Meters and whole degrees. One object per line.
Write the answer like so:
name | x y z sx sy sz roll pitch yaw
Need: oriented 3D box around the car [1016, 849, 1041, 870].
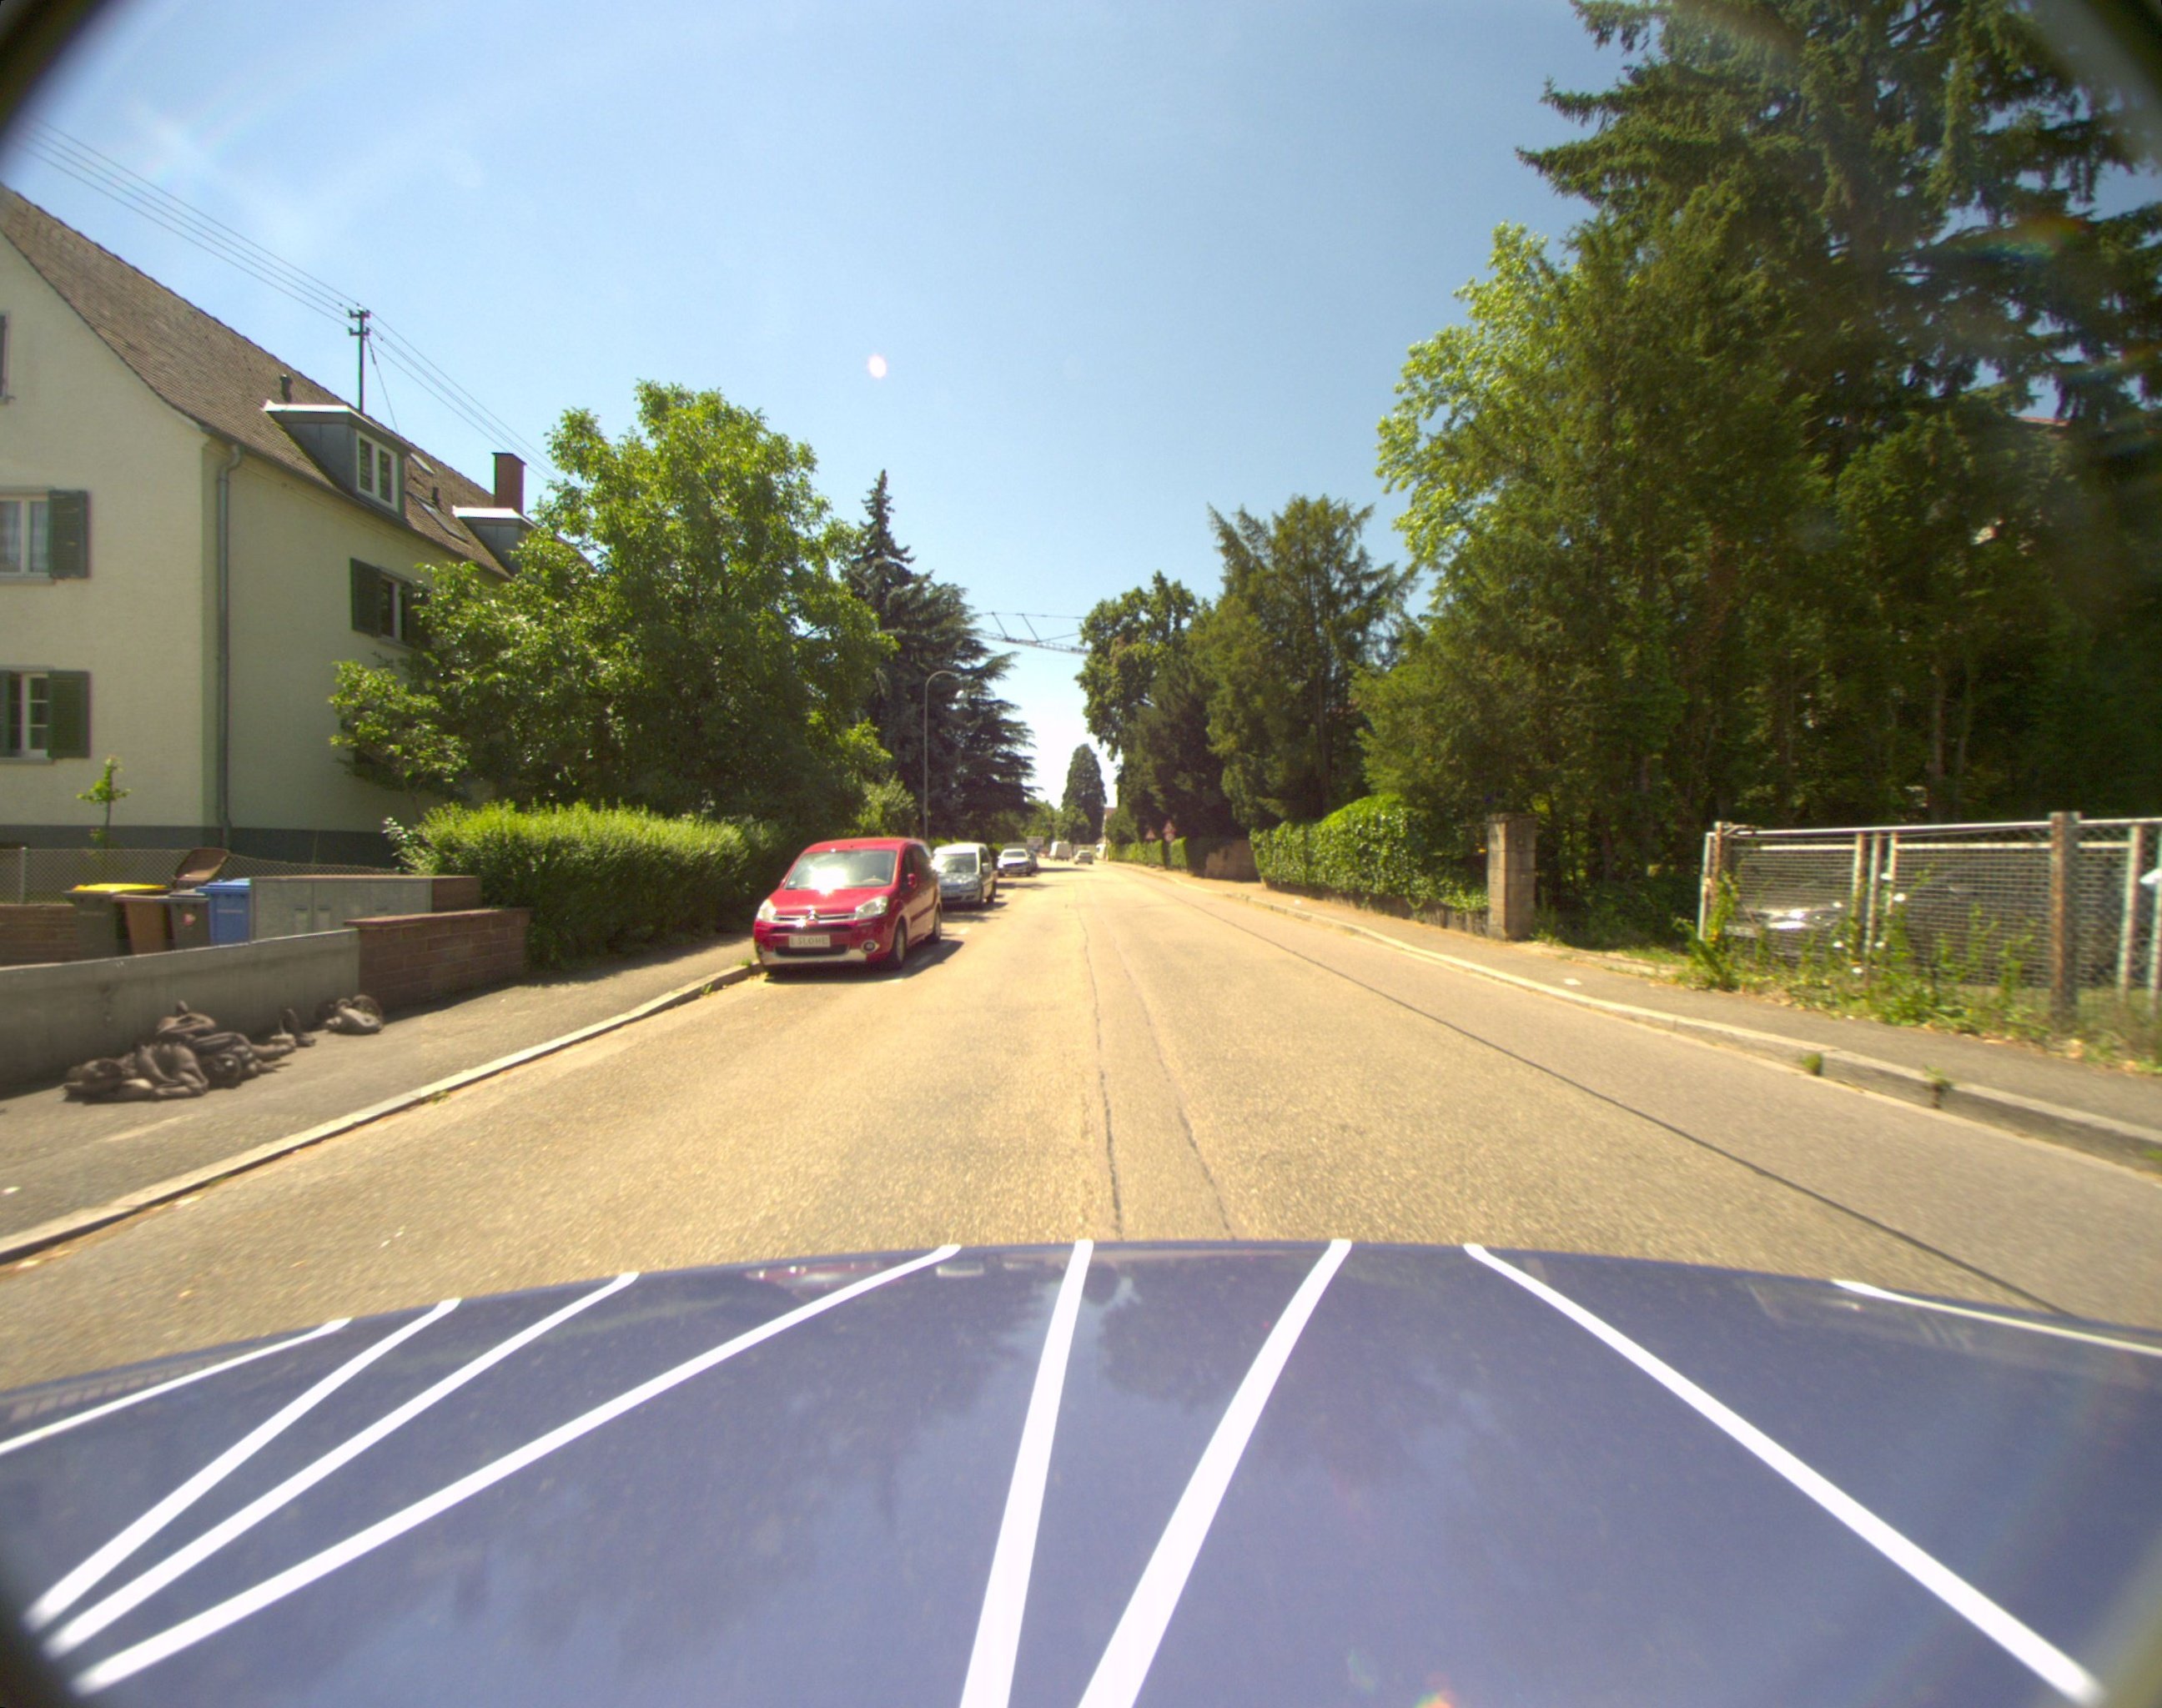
car | -3.792 0.401 55.486 1.619 1.388 4.257 -2 1 -2

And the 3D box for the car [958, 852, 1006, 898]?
car | -3.448 0.703 26.841 1.264 1.487 2.708 -2 1 1

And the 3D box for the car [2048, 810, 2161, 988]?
car | 16.479 0.652 9.242 6.680 2.159 2.401 2 0 -4

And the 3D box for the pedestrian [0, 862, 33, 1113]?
pedestrian | -6.906 0.802 4.362 0.790 1.508 0.708 2 1 1

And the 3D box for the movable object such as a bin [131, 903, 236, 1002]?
movable object such as a bin | -9.099 0.982 7.720 0.465 0.920 0.501 2 1 1

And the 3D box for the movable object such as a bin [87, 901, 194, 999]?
movable object such as a bin | -9.604 0.967 7.773 0.465 0.920 0.501 2 1 1

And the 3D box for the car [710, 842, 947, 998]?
car | -3.262 0.723 10.878 1.908 1.718 4.390 -2 1 -1

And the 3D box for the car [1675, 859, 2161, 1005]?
car | 9.917 0.833 9.082 3.995 1.416 1.969 2 0 4

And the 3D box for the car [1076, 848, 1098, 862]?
car | 0.587 0.073 77.954 1.869 1.375 4.602 1 0 -4

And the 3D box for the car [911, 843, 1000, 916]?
car | -3.367 0.613 21.208 1.751 1.772 4.542 -2 1 -1

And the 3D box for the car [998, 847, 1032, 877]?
car | -3.848 0.430 45.096 1.776 1.622 4.603 -2 0 -3

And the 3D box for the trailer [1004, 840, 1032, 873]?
trailer | -4.159 0.145 50.729 1.684 2.056 3.706 -2 2 -3

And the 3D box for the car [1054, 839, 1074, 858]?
car | -2.346 -0.721 103.696 2.000 2.518 5.889 0 0 -8

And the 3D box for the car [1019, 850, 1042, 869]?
car | -4.054 0.383 61.492 1.619 1.461 4.063 -1 1 -2
